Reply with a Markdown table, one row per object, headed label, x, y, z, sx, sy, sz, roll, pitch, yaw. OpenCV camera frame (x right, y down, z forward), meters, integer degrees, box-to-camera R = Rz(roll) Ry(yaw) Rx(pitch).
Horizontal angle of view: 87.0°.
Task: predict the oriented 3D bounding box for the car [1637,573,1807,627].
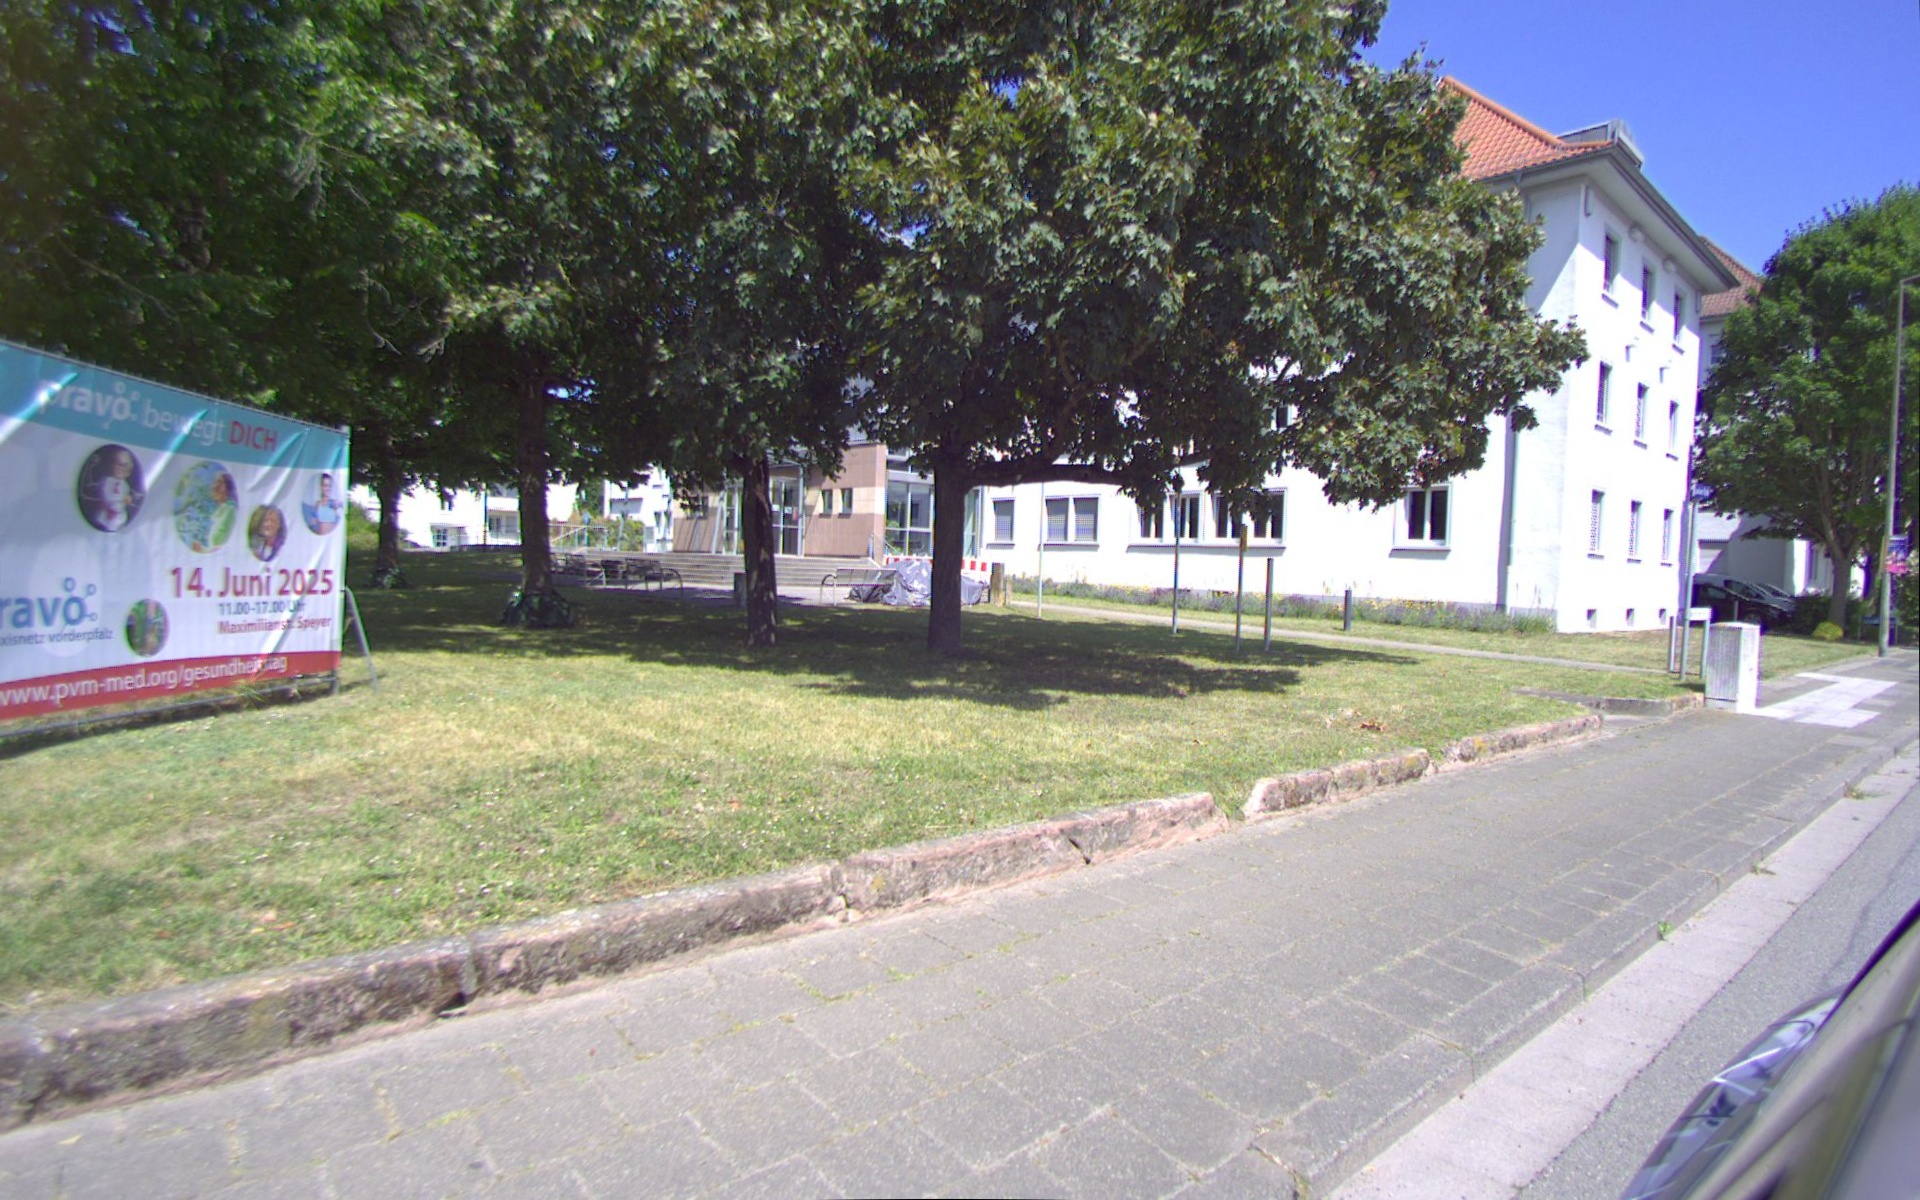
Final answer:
| label | x | y | z | sx | sy | sz | roll | pitch | yaw |
| --- | --- | --- | --- | --- | --- | --- | --- | --- | --- |
| car | 26.084 | -0.058 | 34.741 | 1.967 | 1.452 | 4.362 | 0 | 5 | -44 |

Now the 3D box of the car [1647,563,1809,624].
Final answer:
| label | x | y | z | sx | sy | sz | roll | pitch | yaw |
| --- | --- | --- | --- | --- | --- | --- | --- | --- | --- |
| car | 27.880 | -0.280 | 36.846 | 1.967 | 1.808 | 4.362 | 0 | 5 | -44 |

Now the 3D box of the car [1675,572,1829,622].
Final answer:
| label | x | y | z | sx | sy | sz | roll | pitch | yaw |
| --- | --- | --- | --- | --- | --- | --- | --- | --- | --- |
| car | 30.383 | -0.159 | 38.936 | 1.967 | 1.544 | 4.362 | 0 | 5 | -44 |
